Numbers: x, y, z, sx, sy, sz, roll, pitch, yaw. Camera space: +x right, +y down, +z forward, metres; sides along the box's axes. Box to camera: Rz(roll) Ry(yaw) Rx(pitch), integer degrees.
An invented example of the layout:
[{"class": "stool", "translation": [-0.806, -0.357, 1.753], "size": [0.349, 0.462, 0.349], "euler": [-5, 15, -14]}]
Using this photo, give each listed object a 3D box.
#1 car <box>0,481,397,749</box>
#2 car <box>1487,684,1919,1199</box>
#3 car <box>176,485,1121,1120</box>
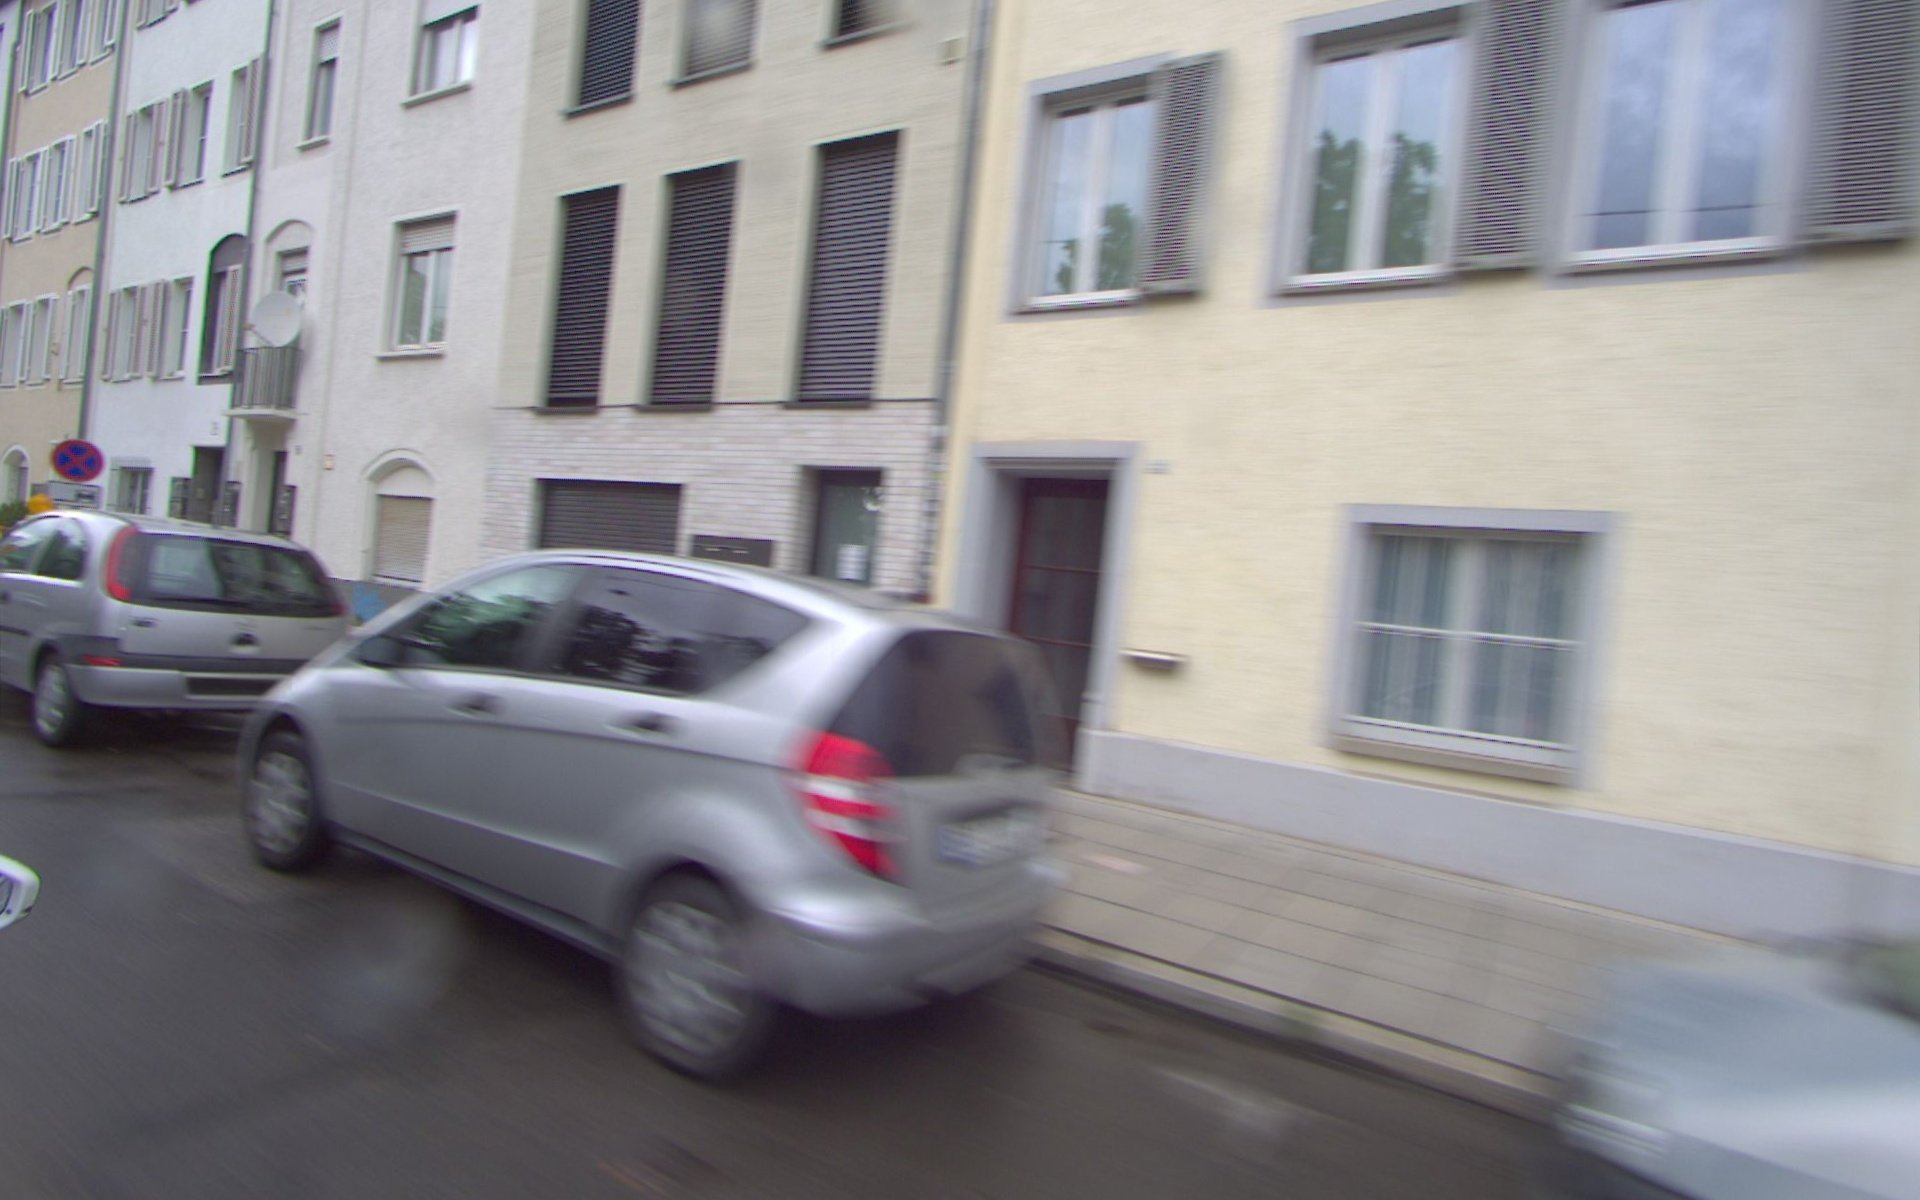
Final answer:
[{"class": "car", "translation": [-6.007, 0.001, 7.305], "size": [3.778, 1.427, 1.629], "euler": [7, -1, 32]}, {"class": "car", "translation": [3.050, 1.169, 1.712], "size": [3.696, 1.471, 1.561], "euler": [7, -1, 31]}, {"class": "car", "translation": [-1.524, 0.510, 4.485], "size": [3.933, 1.542, 1.719], "euler": [7, -1, 31]}]
